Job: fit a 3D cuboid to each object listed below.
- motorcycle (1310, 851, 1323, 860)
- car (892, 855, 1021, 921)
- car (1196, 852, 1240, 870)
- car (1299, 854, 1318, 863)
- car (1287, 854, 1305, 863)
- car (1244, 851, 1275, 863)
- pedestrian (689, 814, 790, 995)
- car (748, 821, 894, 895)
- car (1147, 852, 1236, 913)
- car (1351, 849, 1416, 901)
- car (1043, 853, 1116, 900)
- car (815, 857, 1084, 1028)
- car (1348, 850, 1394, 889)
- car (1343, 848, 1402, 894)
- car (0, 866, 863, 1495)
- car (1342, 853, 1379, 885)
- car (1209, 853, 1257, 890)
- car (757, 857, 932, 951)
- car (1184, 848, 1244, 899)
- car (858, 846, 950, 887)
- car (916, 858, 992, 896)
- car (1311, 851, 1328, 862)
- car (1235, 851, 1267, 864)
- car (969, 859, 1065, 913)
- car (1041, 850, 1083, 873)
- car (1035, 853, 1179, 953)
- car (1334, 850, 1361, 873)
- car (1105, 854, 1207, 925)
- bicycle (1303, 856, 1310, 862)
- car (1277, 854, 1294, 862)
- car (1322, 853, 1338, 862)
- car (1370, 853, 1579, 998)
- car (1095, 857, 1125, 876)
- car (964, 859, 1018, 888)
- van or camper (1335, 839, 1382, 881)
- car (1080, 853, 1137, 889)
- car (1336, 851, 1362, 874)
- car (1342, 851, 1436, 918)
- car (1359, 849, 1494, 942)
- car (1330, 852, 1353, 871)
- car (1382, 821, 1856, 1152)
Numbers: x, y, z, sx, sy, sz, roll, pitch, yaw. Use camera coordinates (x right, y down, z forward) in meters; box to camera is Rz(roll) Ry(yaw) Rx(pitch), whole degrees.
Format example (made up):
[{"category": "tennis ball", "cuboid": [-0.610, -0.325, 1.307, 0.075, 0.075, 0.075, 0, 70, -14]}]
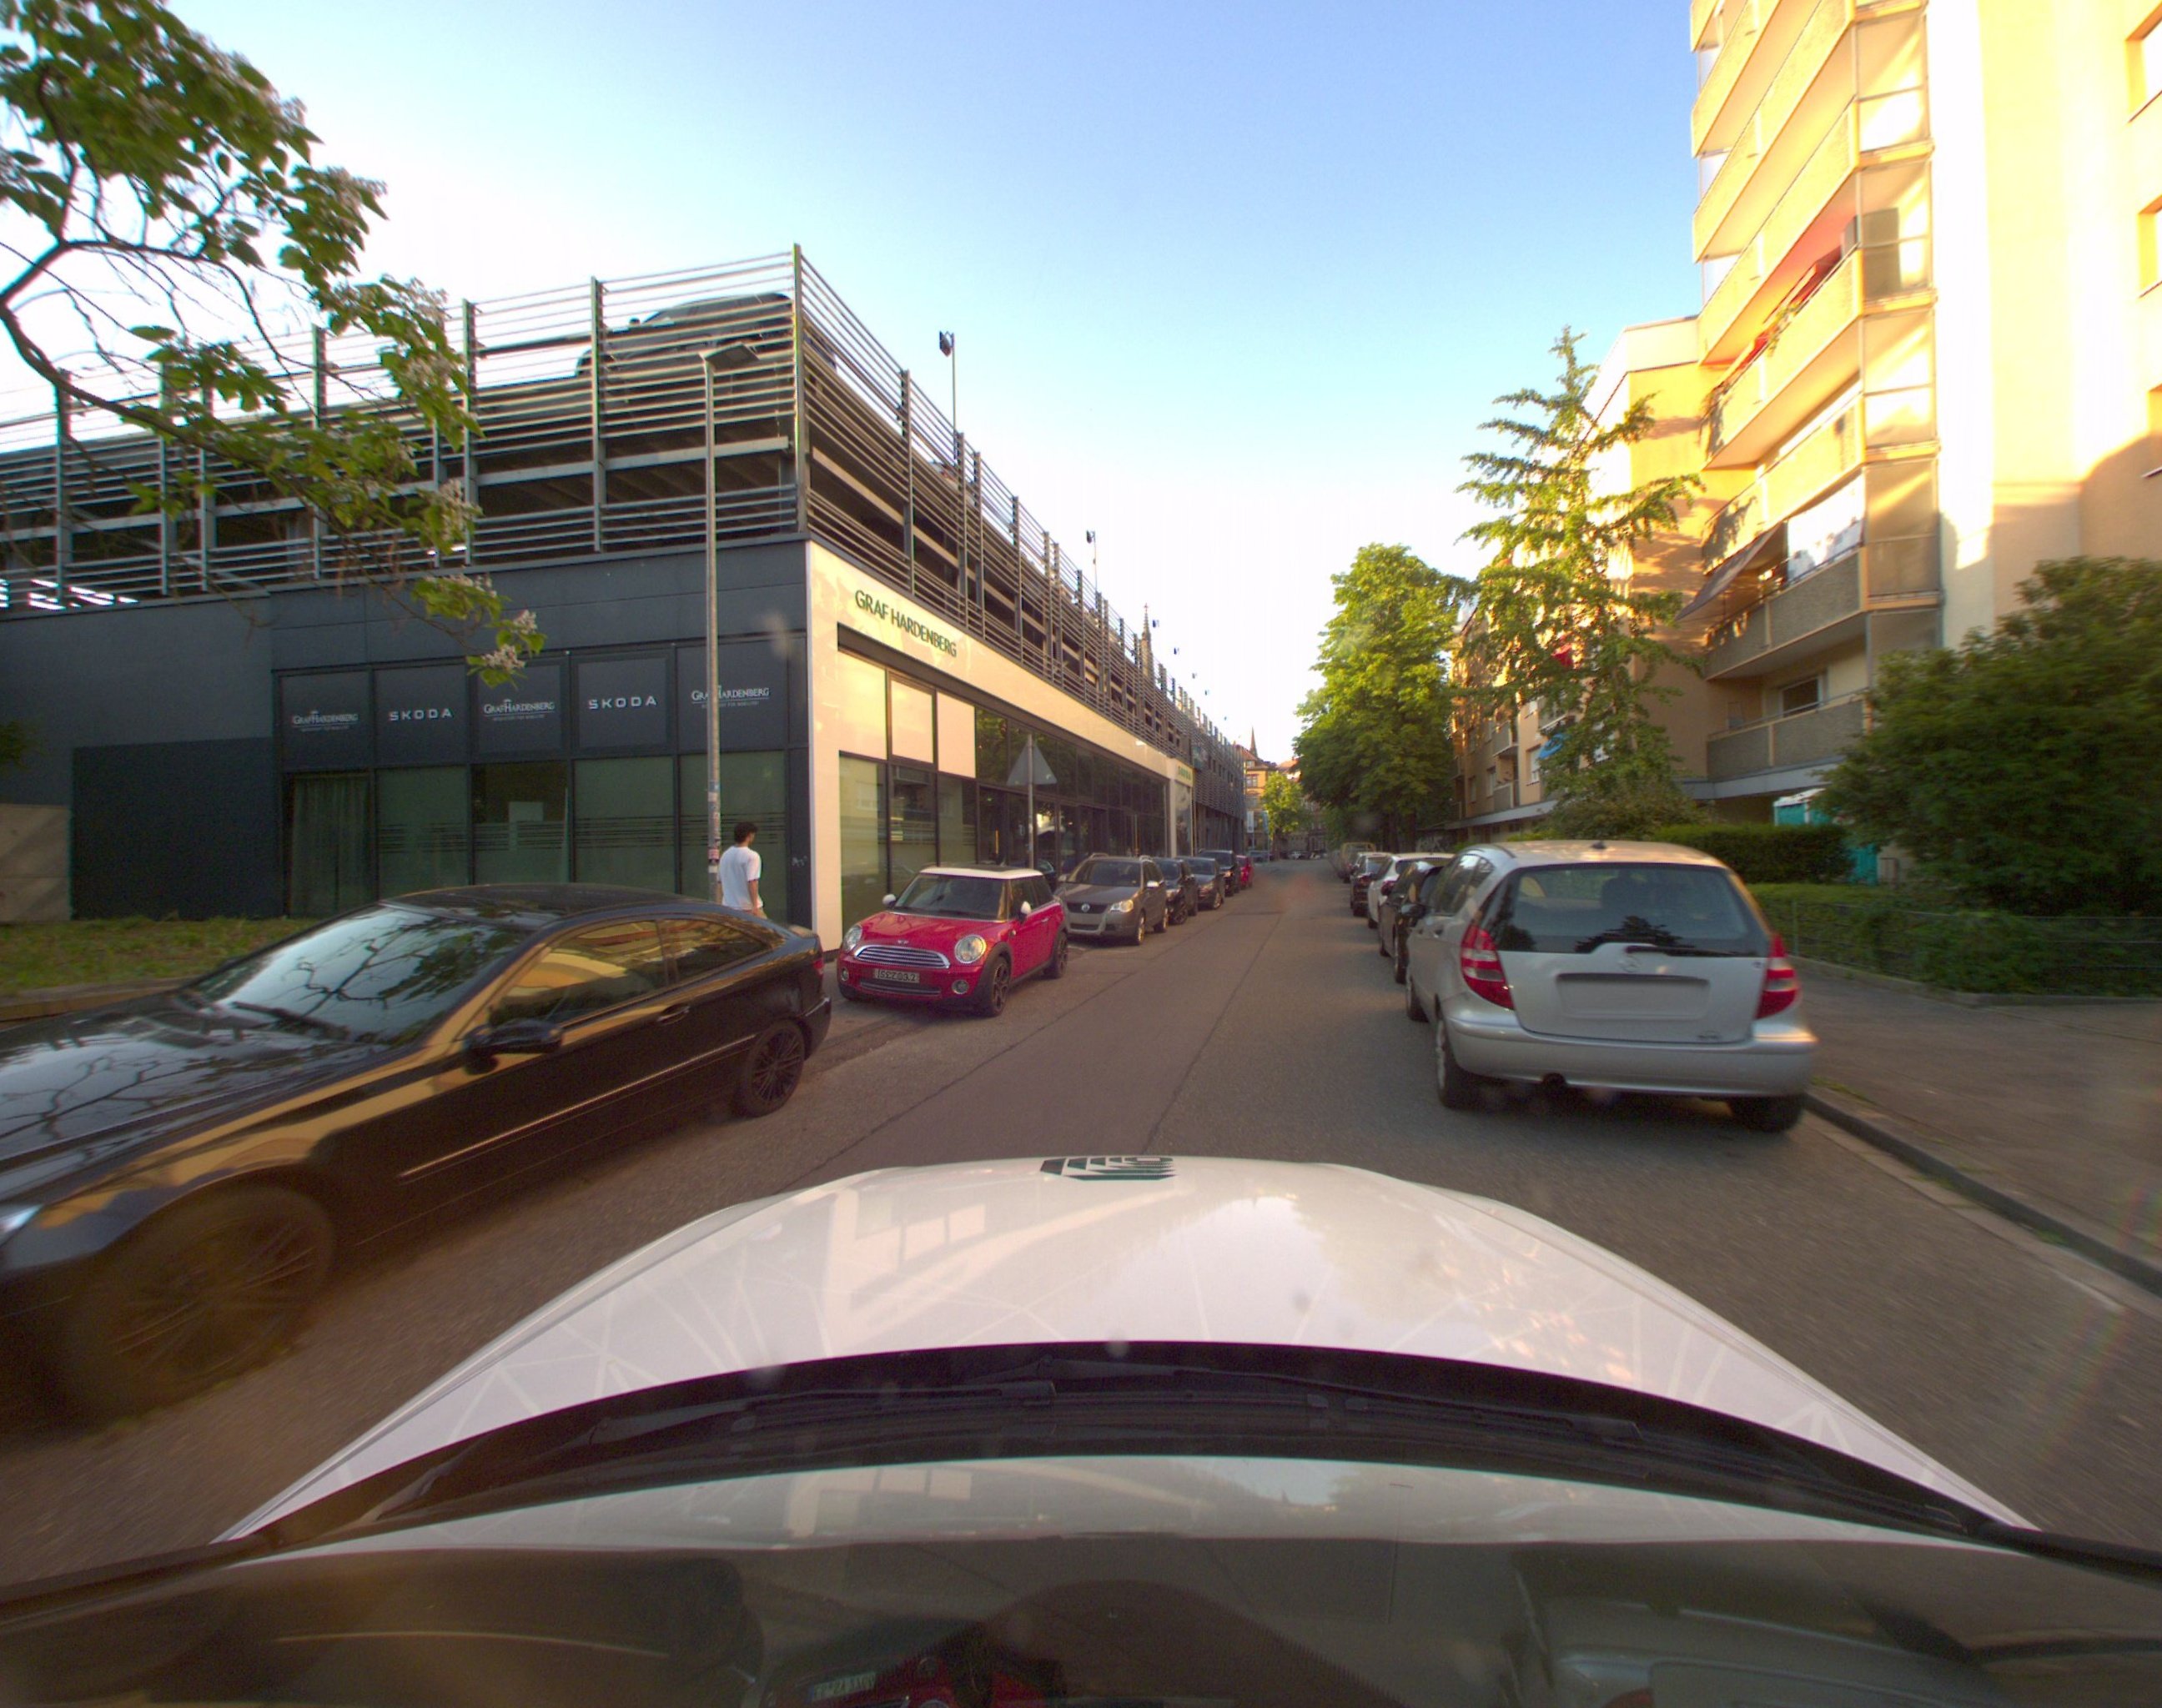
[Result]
[{"category": "motorcycle", "cuboid": [38.590, 0.206, 133.288, 1.922, 1.340, 0.578, -2, 0, 6]}, {"category": "car", "cuboid": [-3.134, 0.822, 21.454, 1.684, 1.514, 4.210, -2, 0, 16]}, {"category": "car", "cuboid": [13.006, 0.707, 77.342, 3.958, 1.586, 1.867, -2, -2, 14]}, {"category": "car", "cuboid": [38.218, 0.699, 136.944, 1.653, 1.431, 3.980, -1, 1, -7]}, {"category": "car", "cuboid": [37.491, 0.740, 141.852, 1.652, 1.431, 4.159, -1, 1, -6]}, {"category": "car", "cuboid": [28.013, 0.489, 127.872, 4.799, 1.732, 1.926, -1, 1, 10]}, {"category": "pedestrian", "cuboid": [-3.694, 0.525, 8.841, 0.715, 1.878, 0.623, -2, 0, 17]}, {"category": "car", "cuboid": [-6.467, 0.082, 20.730, 1.684, 1.658, 3.754, -2, 0, 16]}, {"category": "car", "cuboid": [3.461, 0.809, 24.824, 1.921, 1.596, 4.225, -2, 1, 18]}, {"category": "car", "cuboid": [9.491, 0.614, 25.816, 1.597, 1.461, 4.071, -2, 0, 16]}, {"category": "car", "cuboid": [0.033, 0.828, 32.217, 1.684, 1.658, 4.428, -2, 0, 16]}, {"category": "car", "cuboid": [-1.255, 0.819, 9.535, 1.650, 1.410, 3.941, 4, 1, 13]}, {"category": "car", "cuboid": [12.271, 0.626, 34.649, 1.597, 1.510, 3.493, -2, 0, 16]}, {"category": "car", "cuboid": [10.724, 0.580, 30.184, 1.778, 1.562, 4.212, -2, 0, 16]}, {"category": "car", "cuboid": [-3.038, 0.874, 4.110, 1.649, 1.415, 4.432, 4, 2, 15]}, {"category": "car", "cuboid": [13.536, 0.682, 39.581, 1.594, 1.381, 4.019, -2, 1, 18]}, {"category": "car", "cuboid": [6.831, 0.758, 36.332, 1.684, 1.506, 3.807, -2, 0, 16]}, {"category": "car", "cuboid": [-4.718, 0.936, 16.823, 1.581, 1.650, 3.893, -2, 0, 16]}, {"category": "car", "cuboid": [5.137, 0.695, 30.953, 1.684, 1.756, 4.422, -2, 0, 16]}, {"category": "car", "cuboid": [-6.646, 0.430, 31.001, 1.684, 1.434, 3.937, -2, 0, 16]}, {"category": "car", "cuboid": [-5.376, 0.960, 35.085, 1.684, 1.434, 3.937, -2, 0, 16]}, {"category": "car", "cuboid": [42.325, 0.411, 144.532, 1.673, 1.782, 3.007, -1, 0, -8]}, {"category": "car", "cuboid": [22.933, 0.482, 109.816, 4.099, 1.618, 1.921, 0, 1, 14]}, {"category": "car", "cuboid": [-1.967, 0.970, 26.295, 1.684, 1.514, 4.011, -2, 0, 16]}, {"category": "car", "cuboid": [-1.108, 0.422, 48.928, 1.409, 1.255, 3.542, -2, 1, 17]}, {"category": "car", "cuboid": [0.628, 0.797, 15.348, 1.649, 1.497, 3.902, 4, 2, 17]}, {"category": "car", "cuboid": [19.511, 0.540, 59.779, 1.709, 1.519, 4.043, -2, 0, 16]}, {"category": "car", "cuboid": [1.926, 0.774, 19.860, 1.716, 1.402, 4.023, 4, 2, 15]}, {"category": "bicycle", "cuboid": [36.460, 0.831, 131.650, 0.420, 0.822, 1.471, -1, 0, 38]}, {"category": "car", "cuboid": [36.878, 0.665, 146.754, 1.653, 1.431, 3.886, -1, 1, -8]}, {"category": "car", "cuboid": [43.016, 0.625, 140.716, 1.673, 1.525, 2.760, -1, 0, -8]}, {"category": "car", "cuboid": [4.706, 0.739, 10.325, 1.704, 1.419, 4.045, -2, 0, 16]}, {"category": "car", "cuboid": [2.155, 0.884, 59.088, 1.347, 1.255, 3.228, -2, 0, 17]}, {"category": "car", "cuboid": [-4.296, 0.926, 39.368, 1.409, 1.255, 3.228, -2, 0, 17]}, {"category": "van or camper", "cuboid": [15.145, 0.272, 44.684, 2.049, 2.096, 5.111, -2, 0, 15]}, {"category": "car", "cuboid": [1.298, 0.753, 36.904, 1.684, 1.473, 3.798, -2, 0, 16]}, {"category": "car", "cuboid": [18.072, 0.552, 55.007, 1.551, 1.450, 3.468, -2, 0, 16]}, {"category": "car", "cuboid": [7.543, 0.678, 20.322, 1.796, 1.416, 4.645, -2, 0, 16]}, {"category": "car", "cuboid": [6.071, 0.657, 14.730, 1.795, 1.416, 3.913, -2, 0, 17]}, {"category": "car", "cuboid": [22.361, 0.623, 69.925, 1.746, 1.442, 4.023, -2, 1, 16]}, {"category": "car", "cuboid": [3.341, 0.638, 5.990, 1.796, 1.575, 3.901, -2, 0, 16]}]
